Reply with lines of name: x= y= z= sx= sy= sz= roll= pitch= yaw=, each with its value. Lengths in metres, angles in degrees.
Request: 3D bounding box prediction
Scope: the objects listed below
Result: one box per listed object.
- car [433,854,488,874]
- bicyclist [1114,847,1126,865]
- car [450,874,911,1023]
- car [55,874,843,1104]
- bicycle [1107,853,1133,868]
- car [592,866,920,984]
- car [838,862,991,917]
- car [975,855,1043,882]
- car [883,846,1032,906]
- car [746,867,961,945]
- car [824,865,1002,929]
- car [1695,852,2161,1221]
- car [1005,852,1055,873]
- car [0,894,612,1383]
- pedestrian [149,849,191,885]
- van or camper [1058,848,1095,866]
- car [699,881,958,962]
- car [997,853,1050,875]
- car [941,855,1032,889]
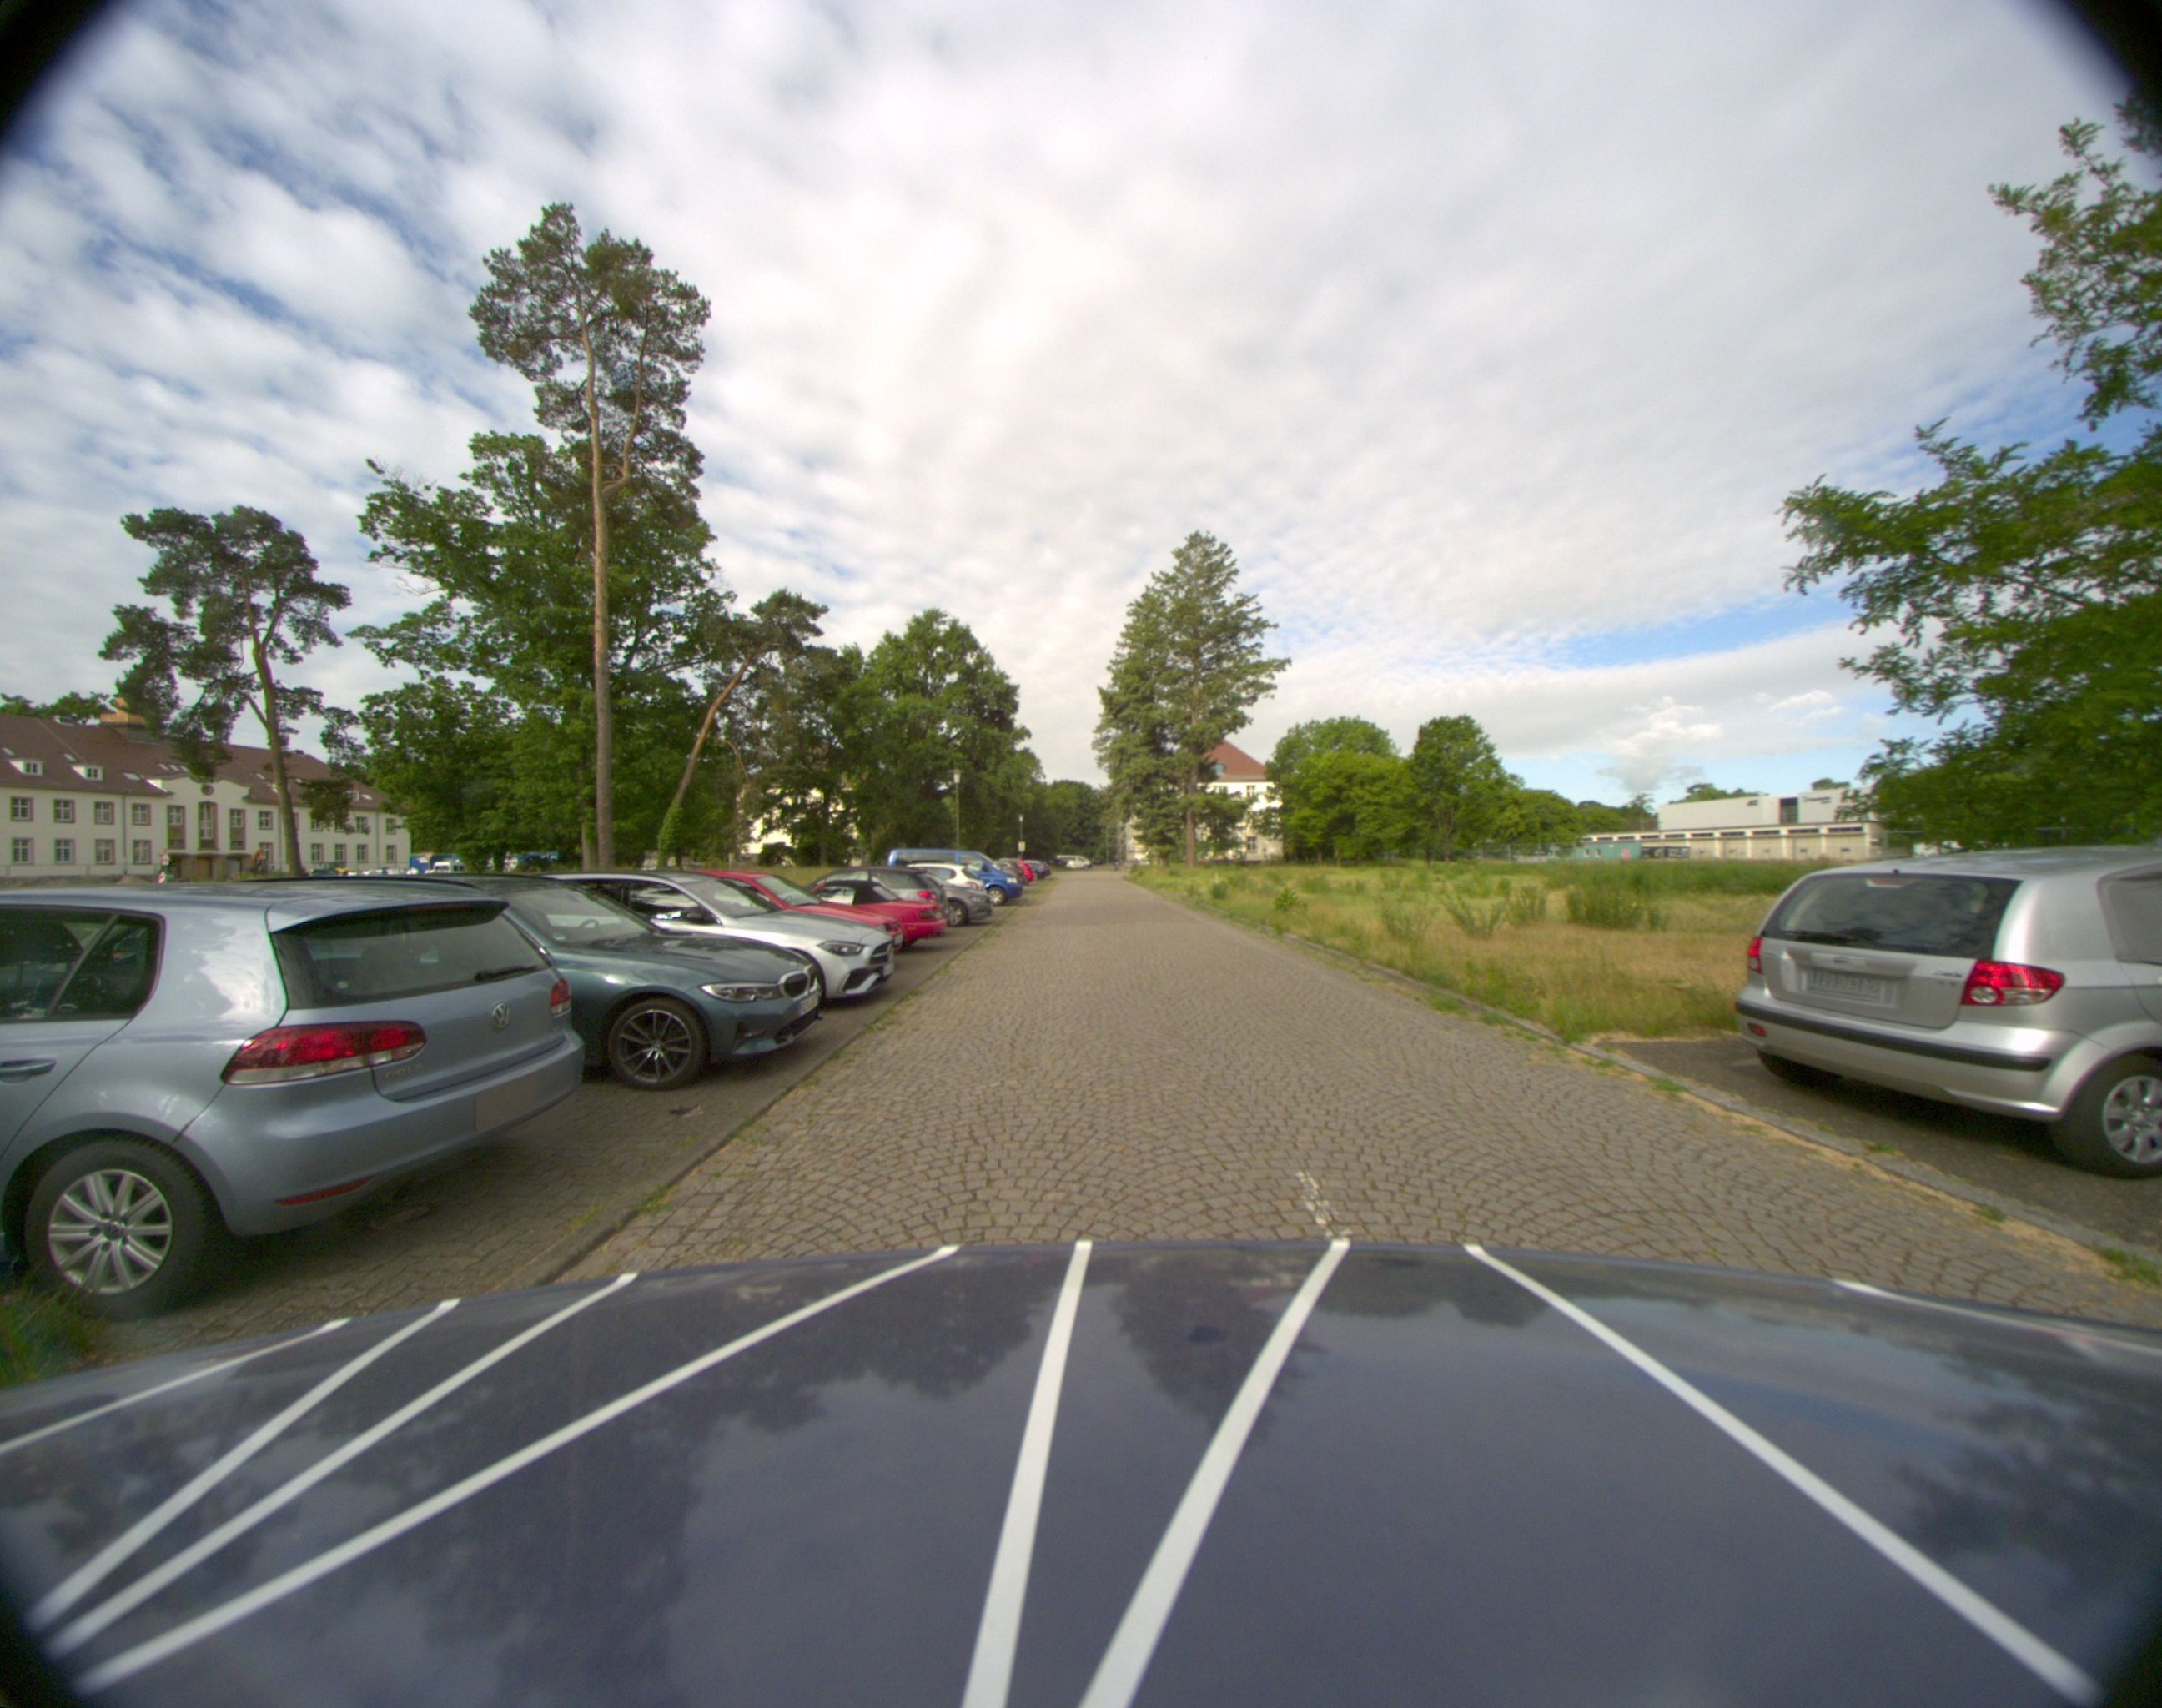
car: x=-68.114 y=1.070 z=83.549 sx=2.166 sy=2.002 sz=4.833 roll=-1 pitch=0 yaw=-1
bicyclist: x=4.240 y=0.210 z=82.549 sx=1.318 sy=1.857 sz=1.250 roll=-1 pitch=1 yaw=6
car: x=-4.285 y=0.993 z=8.599 sx=4.266 sy=1.437 sz=1.797 roll=-1 pitch=0 yaw=3
car: x=-4.468 y=0.922 z=5.931 sx=4.630 sy=1.437 sz=1.796 roll=-1 pitch=0 yaw=0
bicycle: x=4.243 y=0.694 z=82.546 sx=2.673 sy=1.496 sz=1.273 roll=-1 pitch=0 yaw=5
car: x=-4.523 y=0.968 z=10.985 sx=3.932 sy=1.504 sz=1.797 roll=-1 pitch=0 yaw=3
car: x=-4.667 y=0.972 z=21.695 sx=3.933 sy=1.441 sz=1.796 roll=-1 pitch=0 yaw=1
car: x=-4.322 y=0.853 z=46.204 sx=3.998 sy=1.560 sz=1.999 roll=-1 pitch=0 yaw=-3
car: x=-4.300 y=0.752 z=26.975 sx=4.839 sy=2.002 sz=2.001 roll=-1 pitch=0 yaw=4
car: x=-4.654 y=1.052 z=15.940 sx=3.932 sy=1.467 sz=1.797 roll=-1 pitch=0 yaw=1
car: x=-4.034 y=1.021 z=18.692 sx=3.933 sy=1.427 sz=1.796 roll=-1 pitch=0 yaw=1
car: x=6.049 y=0.771 z=4.245 sx=3.985 sy=1.447 sz=1.680 roll=-2 pitch=1 yaw=-4
car: x=-4.032 y=0.704 z=60.993 sx=3.791 sy=1.615 sz=2.000 roll=-1 pitch=0 yaw=2
car: x=-4.585 y=0.944 z=3.274 sx=3.997 sy=1.410 sz=1.797 roll=-1 pitch=0 yaw=1
pedestrian: x=-54.607 y=0.773 z=45.566 sx=1.184 sy=2.165 sz=1.056 roll=-1 pitch=1 yaw=0
van or camper: x=-0.680 y=0.392 z=110.019 sx=5.248 sy=2.449 sz=2.208 roll=-1 pitch=1 yaw=-2
car: x=-4.306 y=1.150 z=13.395 sx=3.932 sy=1.227 sz=1.797 roll=-1 pitch=0 yaw=1
car: x=-4.243 y=0.735 z=56.514 sx=3.791 sy=1.560 sz=2.000 roll=-1 pitch=0 yaw=2
car: x=-4.429 y=0.834 z=35.909 sx=3.996 sy=1.495 sz=1.869 roll=-1 pitch=0 yaw=2
